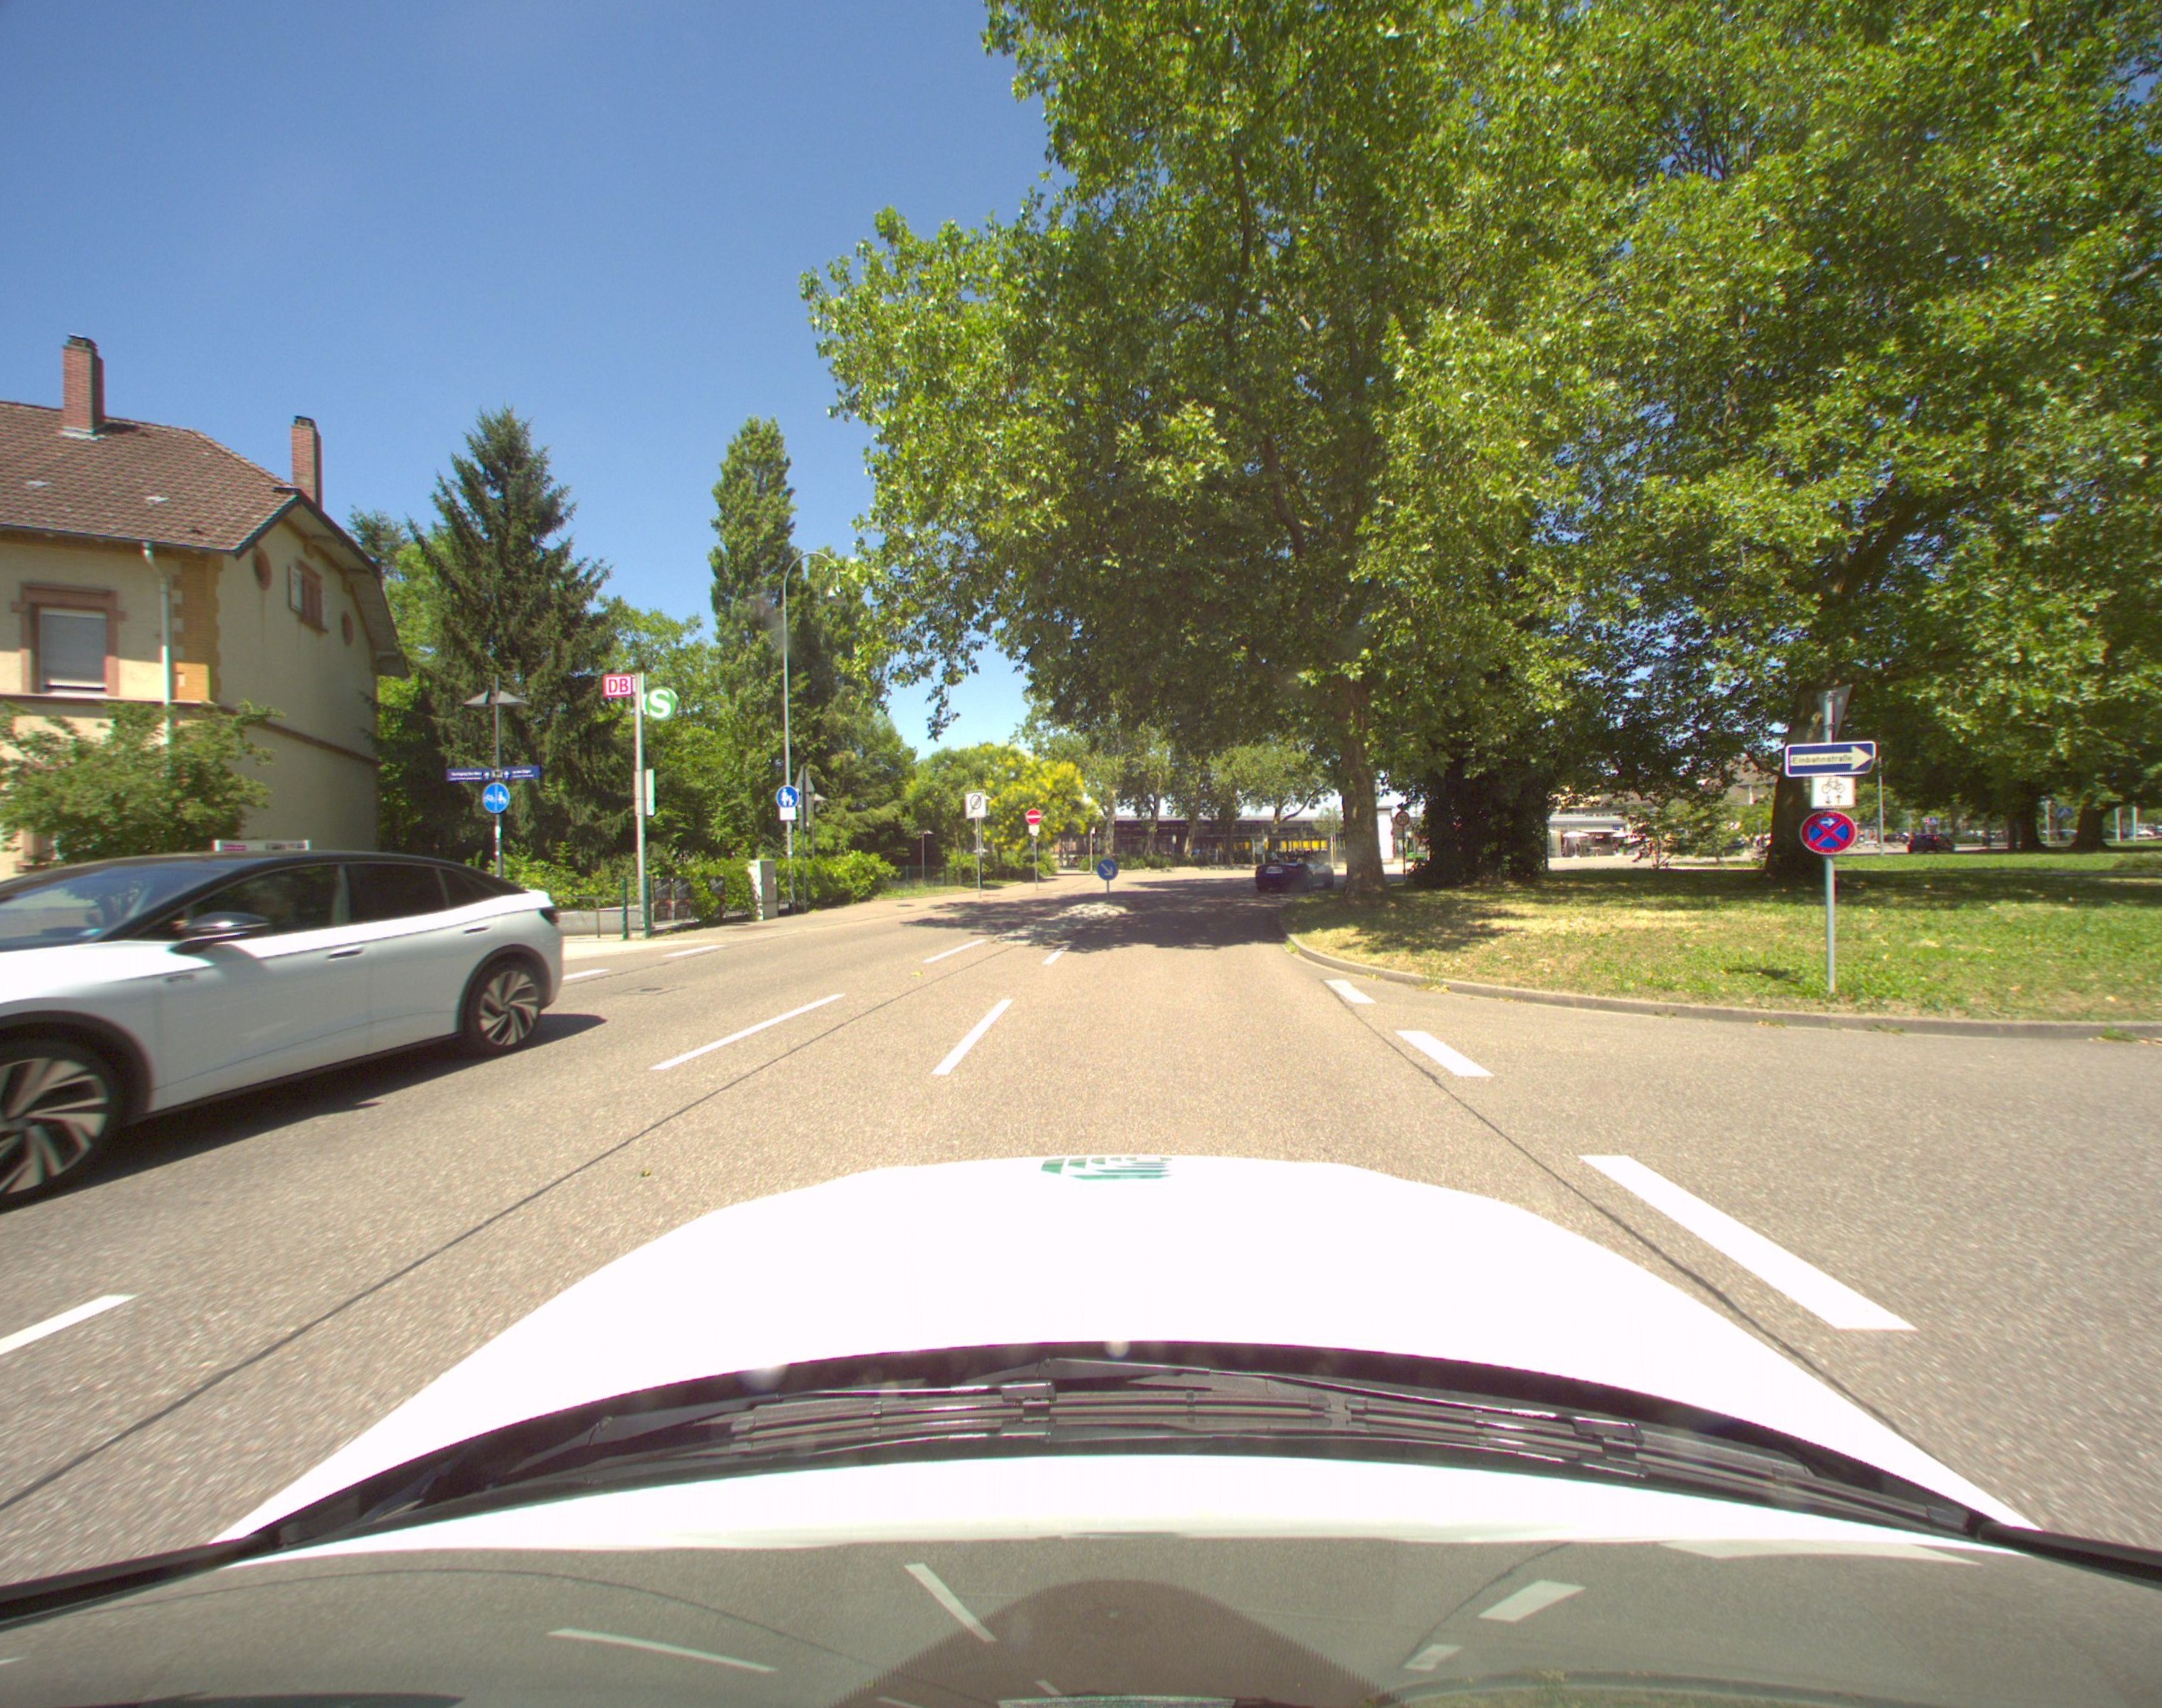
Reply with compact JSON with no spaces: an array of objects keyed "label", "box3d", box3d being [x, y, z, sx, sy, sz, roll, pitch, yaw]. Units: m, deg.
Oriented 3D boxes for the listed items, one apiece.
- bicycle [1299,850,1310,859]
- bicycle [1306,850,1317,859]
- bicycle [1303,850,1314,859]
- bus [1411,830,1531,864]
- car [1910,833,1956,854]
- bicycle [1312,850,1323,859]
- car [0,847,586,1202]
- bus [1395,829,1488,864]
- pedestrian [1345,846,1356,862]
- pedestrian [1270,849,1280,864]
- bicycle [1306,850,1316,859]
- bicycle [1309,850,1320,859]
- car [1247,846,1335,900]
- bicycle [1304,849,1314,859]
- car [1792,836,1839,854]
[{"label":"bicycle","box3d":[26.103,0.078,95.132,0.387,1.094,1.374,1,-1,-25]},{"label":"bicycle","box3d":[26.468,0.048,93.611,0.387,1.094,1.373,1,-1,-26]},{"label":"bicycle","box3d":[26.624,0.082,95.391,0.387,1.094,1.374,1,-1,-25]},{"label":"bus","box3d":[37.369,-0.755,77.678,13.930,3.041,2.658,-1,-1,-29]},{"label":"car","box3d":[62.389,-0.755,59.612,3.721,1.478,1.706,-1,-1,-34]},{"label":"bicycle","box3d":[27.279,0.056,94.022,0.387,1.094,1.374,1,-1,-25]},{"label":"car","box3d":[-5.487,0.739,5.135,1.836,1.530,4.343,-1,0,4]},{"label":"bus","box3d":[39.465,-0.863,88.917,12.251,3.526,2.150,-1,0,-28]},{"label":"pedestrian","box3d":[28.476,0.026,86.161,0.811,1.617,0.773,-1,0,44]},{"label":"pedestrian","box3d":[19.448,0.286,81.692,0.824,1.463,0.601,-1,-1,-30]},{"label":"bicycle","box3d":[27.006,0.086,95.586,0.387,1.094,1.374,1,-1,-25]},{"label":"bicycle","box3d":[26.888,0.053,93.846,0.387,1.094,1.374,1,-1,-25]},{"label":"car","box3d":[7.782,0.636,29.942,2.105,1.848,4.073,-1,0,30]},{"label":"bicycle","box3d":[26.120,0.043,93.334,0.387,1.094,1.374,1,-1,-25]},{"label":"car","box3d":[69.119,-0.816,76.596,4.167,1.444,1.804,-2,-3,-27]}]
